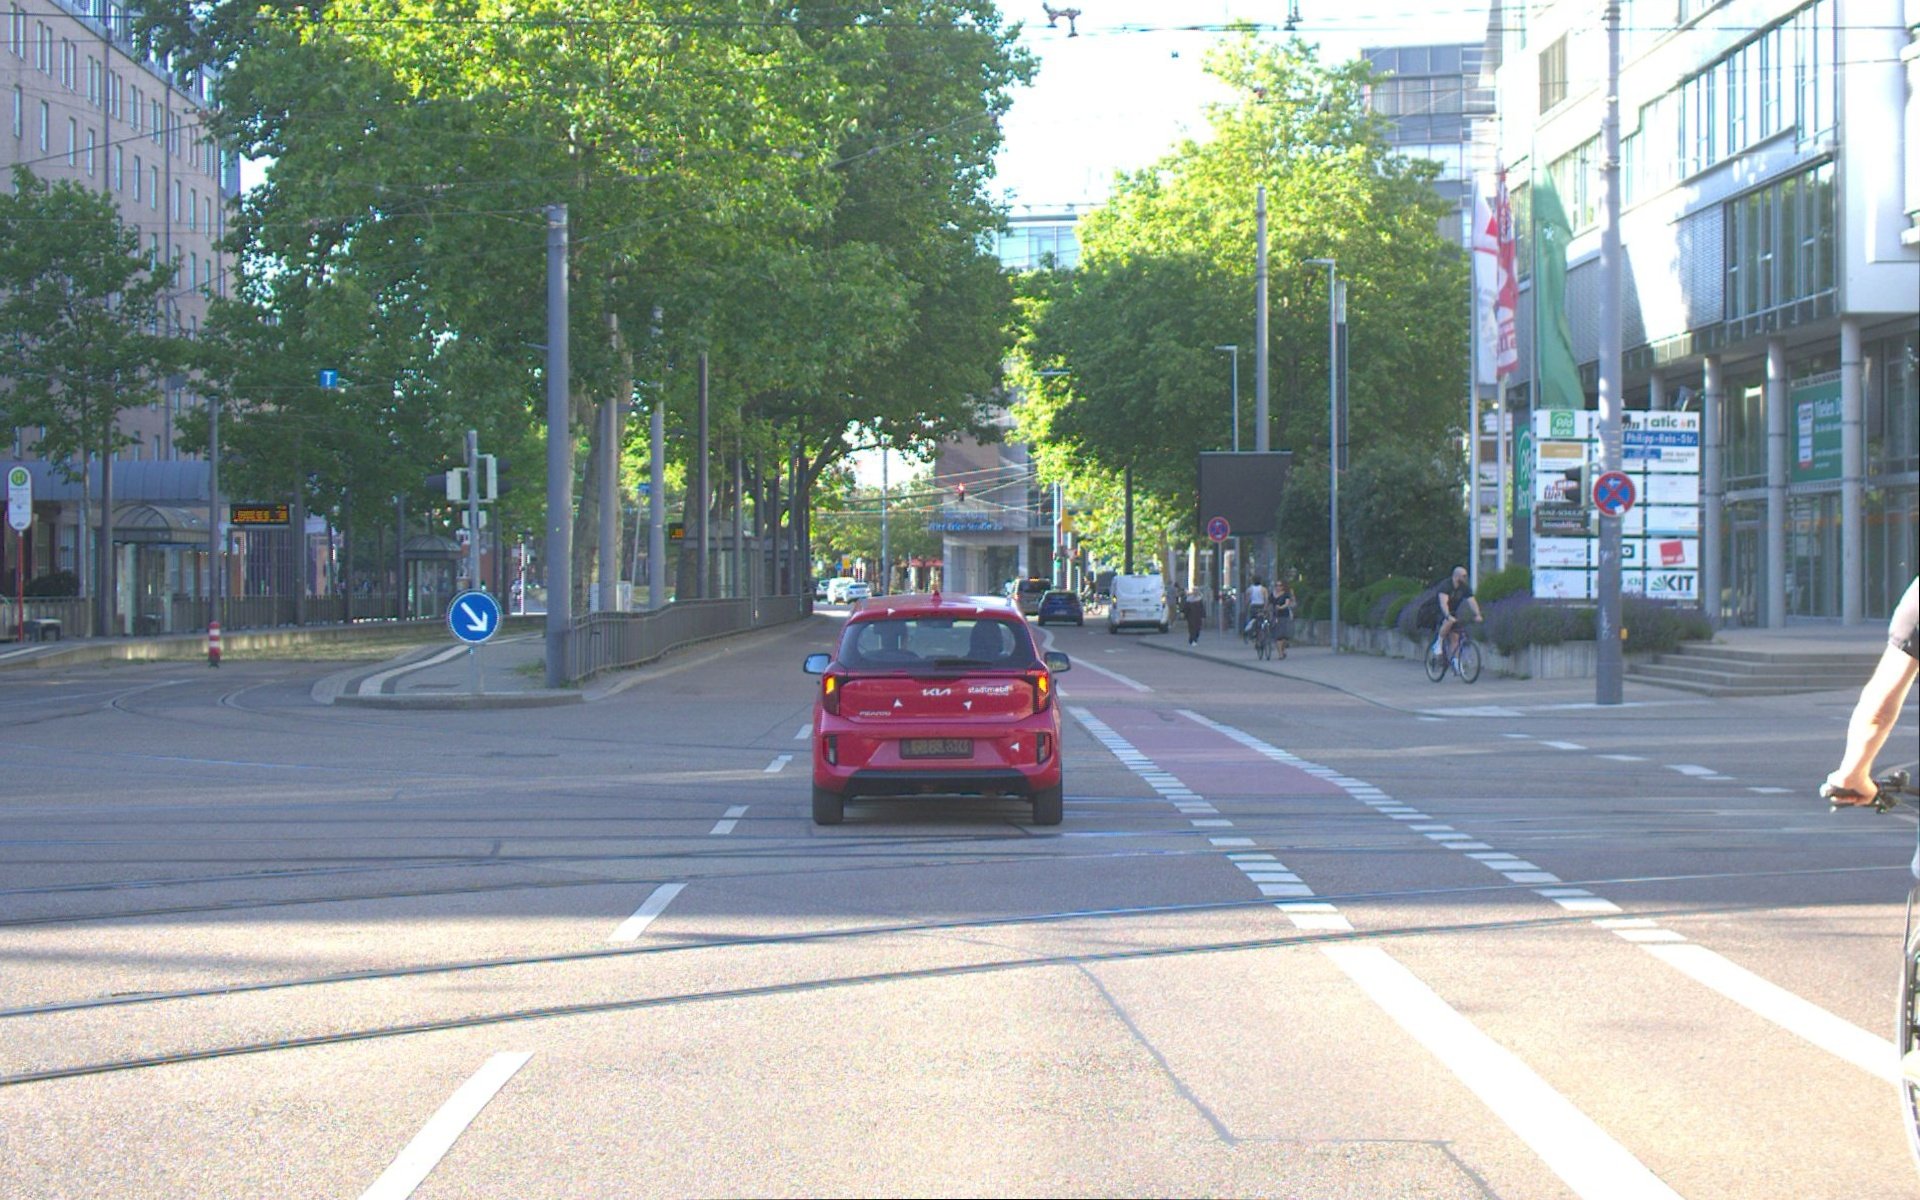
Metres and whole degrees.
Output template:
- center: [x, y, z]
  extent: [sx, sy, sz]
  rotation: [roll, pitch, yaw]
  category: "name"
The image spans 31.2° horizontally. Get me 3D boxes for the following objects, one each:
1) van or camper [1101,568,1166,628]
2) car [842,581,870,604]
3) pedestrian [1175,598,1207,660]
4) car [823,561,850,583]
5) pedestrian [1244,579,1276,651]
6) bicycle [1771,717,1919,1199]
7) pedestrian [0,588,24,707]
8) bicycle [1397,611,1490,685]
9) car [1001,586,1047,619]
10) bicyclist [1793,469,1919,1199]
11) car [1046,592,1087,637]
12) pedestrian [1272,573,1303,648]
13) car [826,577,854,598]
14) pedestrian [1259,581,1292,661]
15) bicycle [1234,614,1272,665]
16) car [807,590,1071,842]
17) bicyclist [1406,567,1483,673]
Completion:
- center: [5.923, -0.066, 117.703]
  extent: [1.993, 1.982, 4.745]
  rotation: [0, 0, 0]
  category: "van or camper"
- center: [-7.337, -0.542, 242.714]
  extent: [1.777, 1.529, 3.412]
  rotation: [1, 0, -5]
  category: "car"
- center: [6.059, 0.757, 90.132]
  extent: [0.641, 1.574, 0.723]
  rotation: [-4, 0, -6]
  category: "pedestrian"
- center: [-9.206, -2.068, 255.307]
  extent: [1.777, 1.583, 3.412]
  rotation: [1, 0, -5]
  category: "car"
- center: [7.307, 0.360, 83.759]
  extent: [0.564, 1.696, 0.907]
  rotation: [-3, 0, -3]
  category: "pedestrian"
- center: [2.322, 0.942, 7.749]
  extent: [0.650, 1.276, 1.966]
  rotation: [0, 0, 4]
  category: "bicycle"
- center: [-12.856, 0.610, 44.867]
  extent: [1.046, 1.539, 0.694]
  rotation: [0, 0, 9]
  category: "pedestrian"
- center: [7.484, 0.737, 53.317]
  extent: [0.696, 1.095, 1.751]
  rotation: [-4, 1, -17]
  category: "bicycle"
- center: [2.993, 0.105, 161.069]
  extent: [1.777, 1.529, 3.513]
  rotation: [1, 0, -5]
  category: "car"
- center: [2.310, 0.518, 7.785]
  extent: [0.650, 1.597, 1.088]
  rotation: [0, 0, 4]
  category: "bicyclist"
- center: [4.311, 0.569, 139.582]
  extent: [1.635, 1.794, 3.330]
  rotation: [0, 0, 1]
  category: "car"
- center: [7.975, 0.259, 83.811]
  extent: [0.540, 1.790, 0.907]
  rotation: [-3, 0, -3]
  category: "pedestrian"
- center: [-8.720, -0.914, 249.300]
  extent: [1.777, 1.529, 3.412]
  rotation: [1, 0, -5]
  category: "car"
- center: [6.617, 0.430, 72.113]
  extent: [0.646, 1.674, 0.651]
  rotation: [0, 0, 0]
  category: "pedestrian"
- center: [6.123, 0.823, 72.010]
  extent: [0.520, 0.971, 2.201]
  rotation: [-3, 1, -1]
  category: "bicycle"
- center: [-0.144, 0.716, 23.026]
  extent: [1.613, 1.529, 3.412]
  rotation: [1, 0, 0]
  category: "car"
- center: [7.497, 0.309, 53.229]
  extent: [0.721, 1.597, 1.089]
  rotation: [-2, 0, -17]
  category: "bicyclist"
